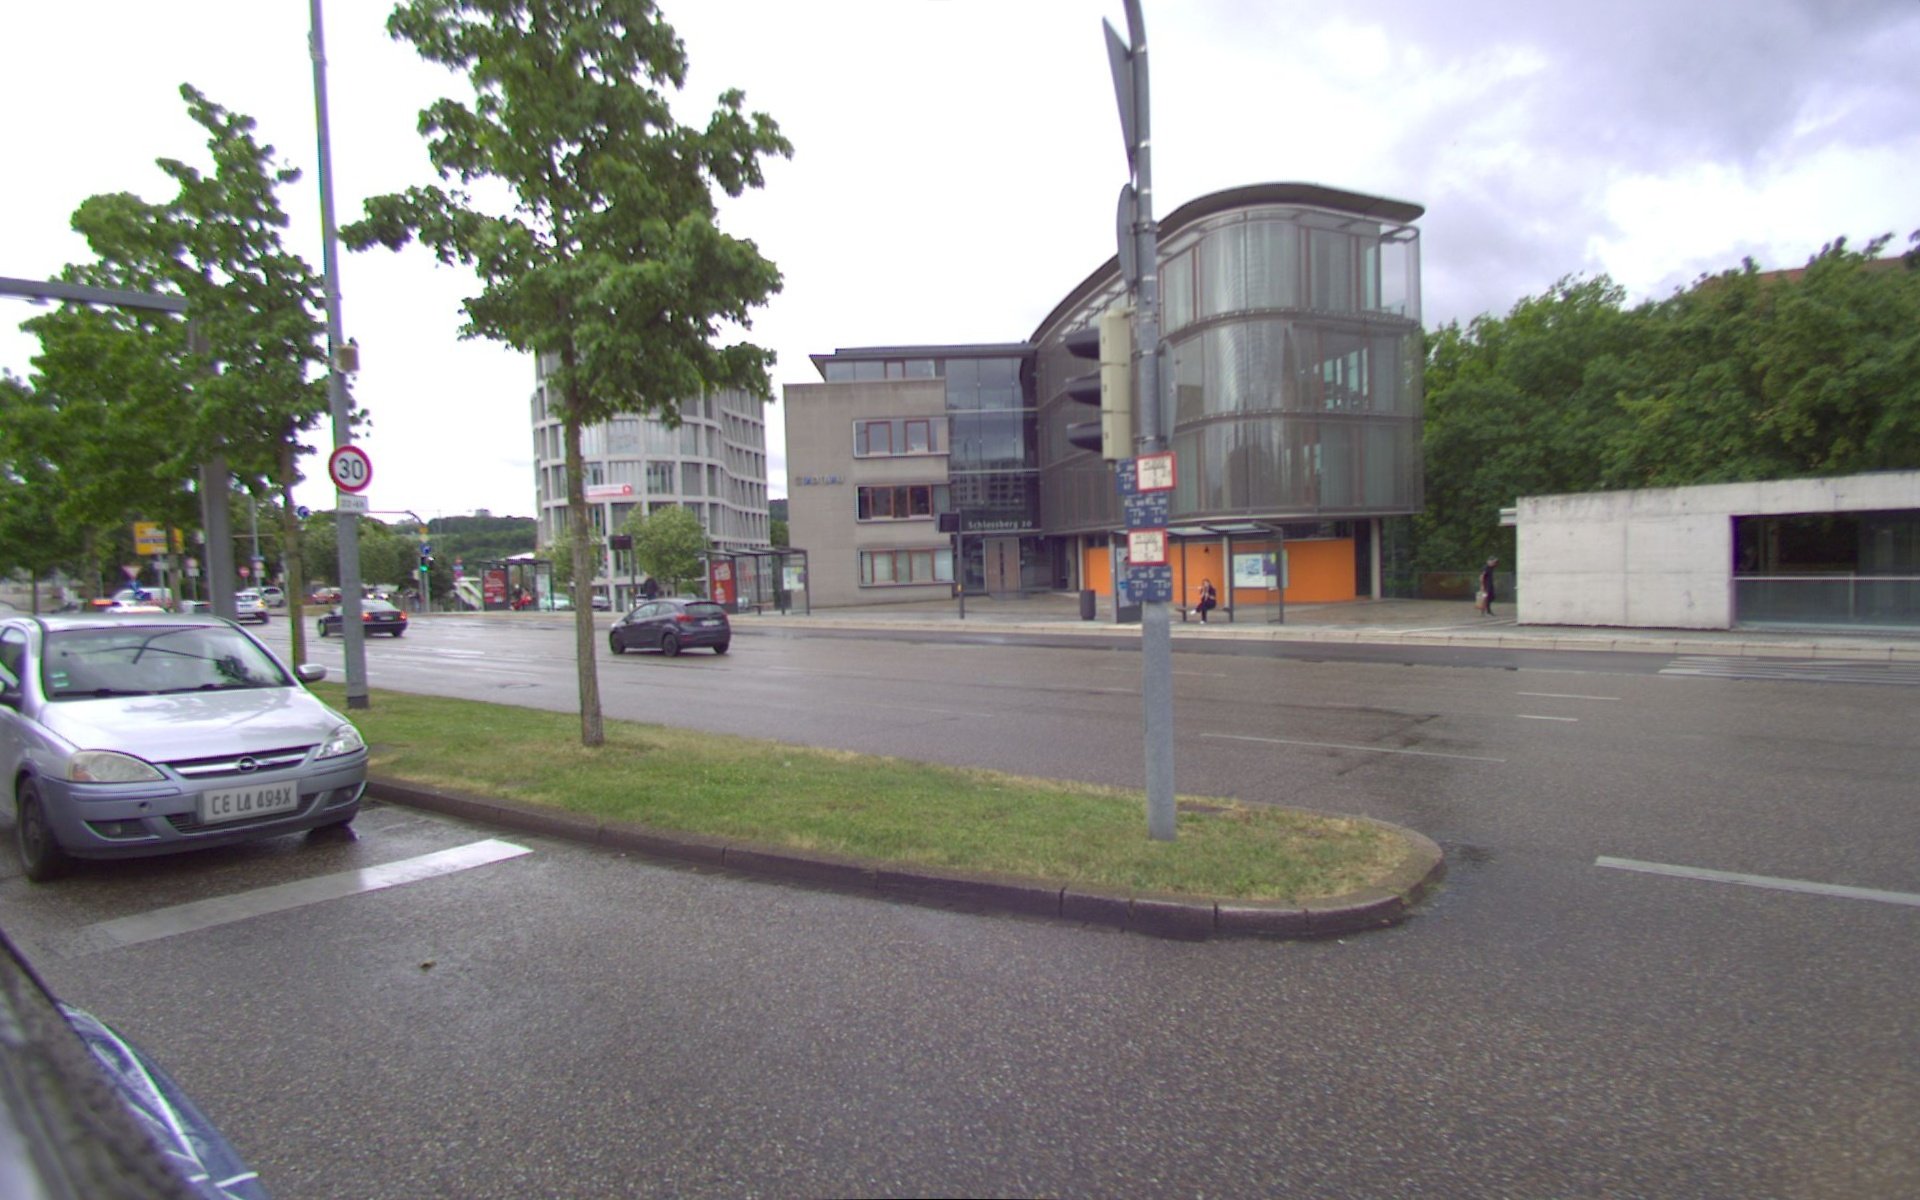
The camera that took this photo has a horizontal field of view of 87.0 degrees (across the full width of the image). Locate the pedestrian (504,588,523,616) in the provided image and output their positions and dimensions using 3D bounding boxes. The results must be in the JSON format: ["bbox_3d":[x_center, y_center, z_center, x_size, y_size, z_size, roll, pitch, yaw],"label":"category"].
[{"bbox_3d":[-23.686,0.093,53.732,0.723,1.501,0.735,0,0,-44],"label":"pedestrian"}]

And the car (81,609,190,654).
[{"bbox_3d":[-27.676,1.013,33.937,4.159,1.363,1.986,0,0,38],"label":"car"}]

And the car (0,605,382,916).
[{"bbox_3d":[-5.541,0.783,6.683,3.714,1.476,1.679,0,0,37],"label":"car"}]

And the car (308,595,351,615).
[{"bbox_3d":[-55.029,0.433,88.403,1.846,1.646,4.168,-1,1,-12],"label":"car"}]

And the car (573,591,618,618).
[{"bbox_3d":[-23.750,0.270,66.061,1.847,1.714,4.164,0,0,-7],"label":"car"}]

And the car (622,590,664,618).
[{"bbox_3d":[-20.761,0.237,66.439,1.847,1.714,4.164,-1,1,-7],"label":"car"}]

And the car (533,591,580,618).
[{"bbox_3d":[-26.219,0.285,65.860,1.847,1.714,4.164,0,0,-7],"label":"car"}]

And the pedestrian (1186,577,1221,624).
[{"bbox_3d":[6.795,0.013,28.226,0.720,1.309,0.659,0,0,43],"label":"pedestrian"}]

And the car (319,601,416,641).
[{"bbox_3d":[-22.729,0.779,38.780,3.995,1.433,1.937,0,0,39],"label":"car"}]

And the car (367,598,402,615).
[{"bbox_3d":[-58.390,0.643,102.771,1.864,1.726,4.228,0,0,-12],"label":"car"}]

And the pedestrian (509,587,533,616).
[{"bbox_3d":[-22.982,0.093,53.008,0.969,1.501,0.735,0,0,-42],"label":"pedestrian"}]

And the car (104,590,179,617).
[{"bbox_3d":[-52.139,0.178,64.552,1.847,1.646,4.165,0,0,-9],"label":"car"}]

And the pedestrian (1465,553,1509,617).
[{"bbox_3d":[14.973,-0.418,28.776,0.773,1.769,0.828,0,0,-32],"label":"pedestrian"}]

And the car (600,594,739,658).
[{"bbox_3d":[-7.550,0.629,26.144,3.862,1.523,1.659,0,0,42],"label":"car"}]

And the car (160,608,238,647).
[{"bbox_3d":[-31.272,1.068,41.528,4.449,1.476,1.677,0,0,41],"label":"car"}]

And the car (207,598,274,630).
[{"bbox_3d":[-37.570,0.700,52.808,4.206,1.630,1.935,0,0,41],"label":"car"}]

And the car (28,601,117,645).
[{"bbox_3d":[-33.586,0.831,38.257,4.162,1.566,1.984,0,0,41],"label":"car"}]

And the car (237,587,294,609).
[{"bbox_3d":[-53.845,-0.197,78.546,1.848,1.646,4.291,0,0,-6],"label":"car"}]

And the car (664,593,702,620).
[{"bbox_3d":[-18.319,0.428,67.042,1.847,1.714,4.164,0,0,-7],"label":"car"}]
